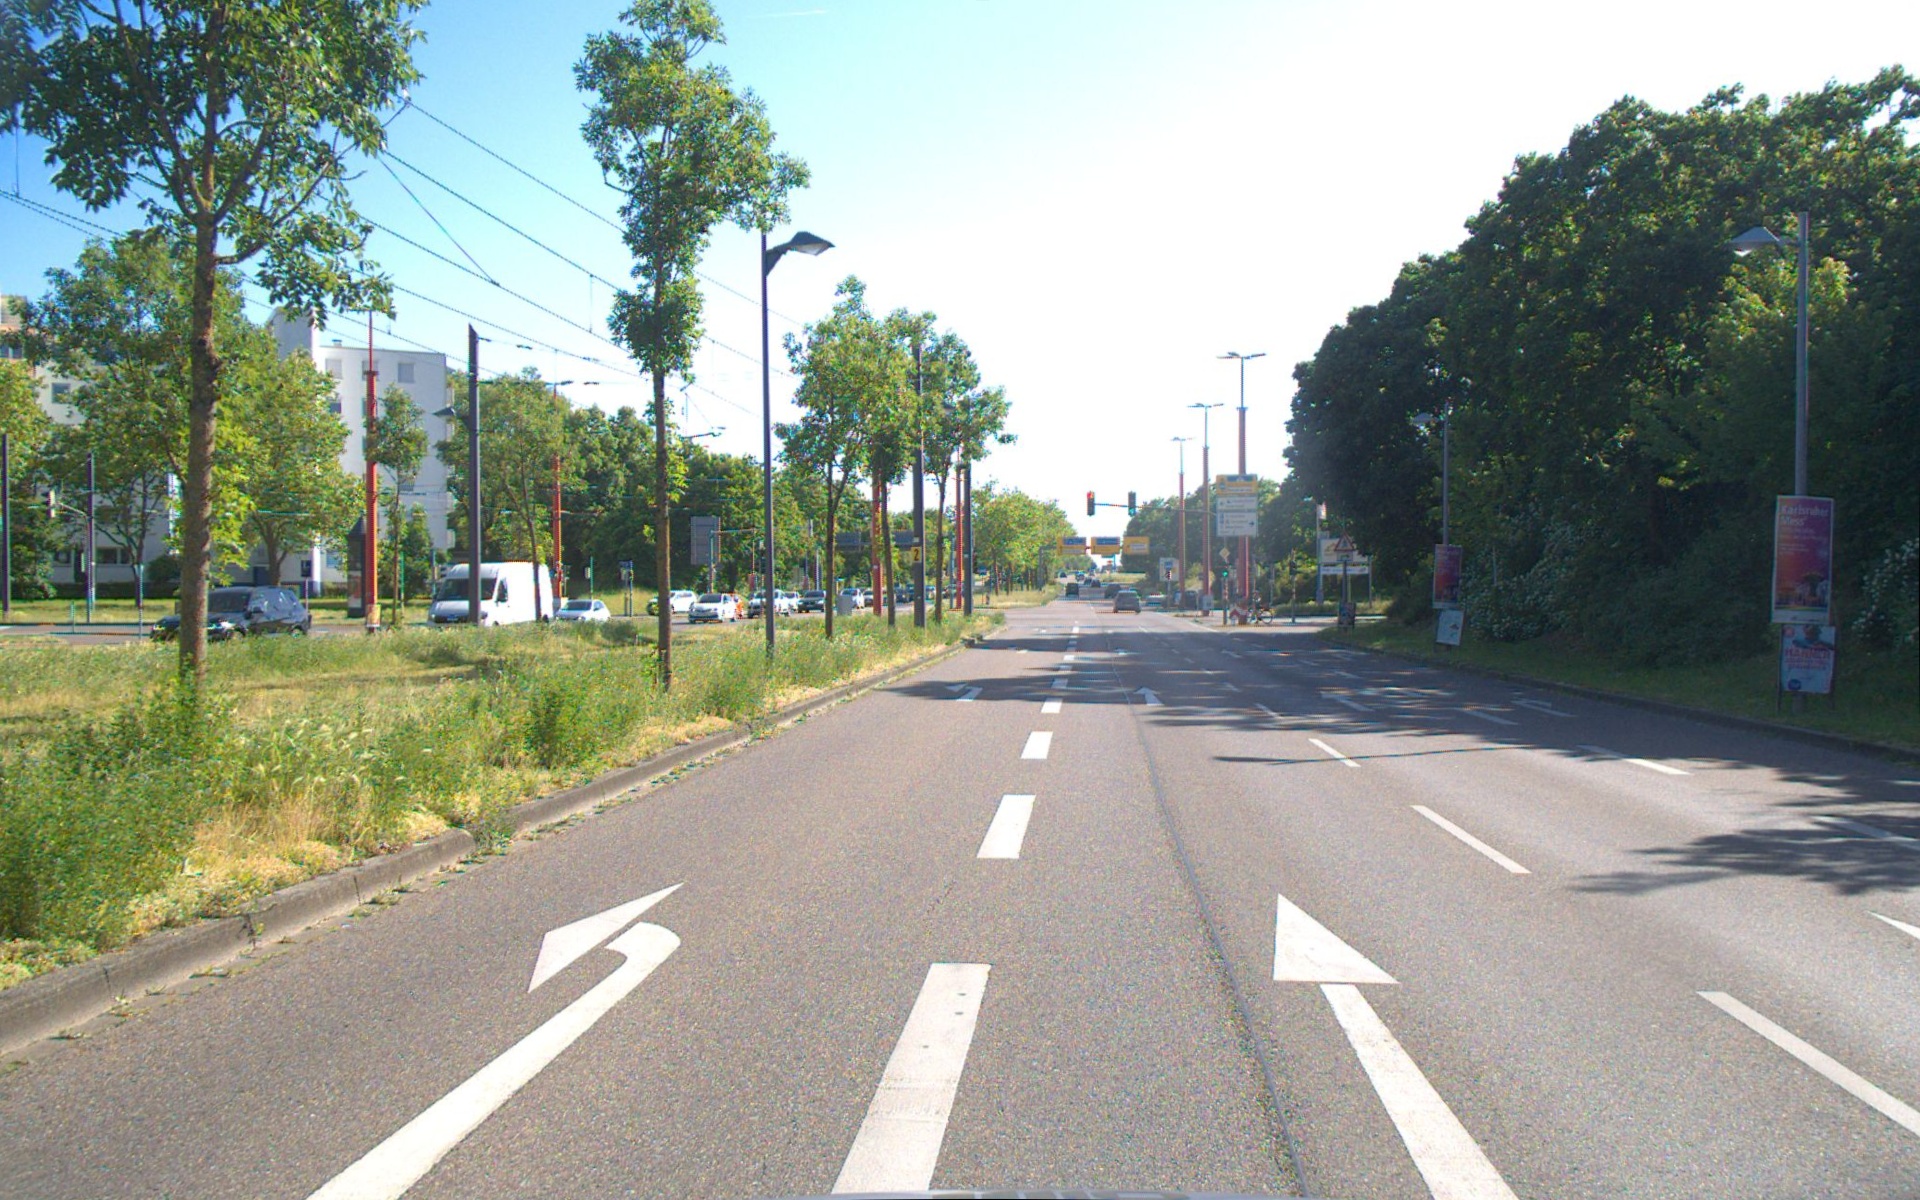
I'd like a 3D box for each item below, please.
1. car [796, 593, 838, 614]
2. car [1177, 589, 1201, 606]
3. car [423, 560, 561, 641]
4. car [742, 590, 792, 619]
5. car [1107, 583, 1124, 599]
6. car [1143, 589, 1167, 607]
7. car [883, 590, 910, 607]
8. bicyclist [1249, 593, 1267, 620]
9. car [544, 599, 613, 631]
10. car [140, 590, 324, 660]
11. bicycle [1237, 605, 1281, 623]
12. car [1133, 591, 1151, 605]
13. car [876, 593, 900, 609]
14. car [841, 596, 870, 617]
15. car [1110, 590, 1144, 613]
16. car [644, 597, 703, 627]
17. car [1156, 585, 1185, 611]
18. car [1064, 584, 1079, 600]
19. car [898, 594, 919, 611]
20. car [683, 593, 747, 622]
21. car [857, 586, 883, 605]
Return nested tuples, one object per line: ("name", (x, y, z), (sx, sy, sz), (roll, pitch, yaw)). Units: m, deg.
("car", (-9.864, 0.247, 114.381), (1.951, 1.434, 4.993), (1, 0, 6))
("car", (18.608, -0.170, 134.387), (1.701, 1.365, 3.083), (0, 0, 4))
("car", (-14.852, 0.005, 52.991), (1.996, 2.410, 6.884), (1, 0, 4))
("car", (-11.371, 0.260, 97.727), (1.854, 1.650, 4.660), (1, 0, 7))
("car", (19.502, -1.135, 207.387), (2.109, 2.049, 4.002), (0, 0, 4))
("car", (17.739, -0.204, 150.662), (1.951, 1.567, 4.002), (1, 0, 4))
("car", (-6.147, -0.175, 160.594), (1.951, 1.622, 4.467), (-1, 0, 6))
("bicyclist", (14.895, 0.327, 82.772), (0.725, 1.365, 0.707), (1, 0, -6))
("car", (-16.660, 0.645, 72.384), (1.760, 1.315, 4.002), (1, 0, 5))
("car", (-18.069, 0.592, 41.373), (1.951, 1.612, 5.275), (1, 0, 4))
("bicycle", (14.954, 0.696, 82.778), (2.120, 0.894, 0.559), (1, 0, -7))
("car", (20.960, -0.256, 190.816), (1.951, 1.567, 4.002), (1, 0, 4))
("car", (-6.562, 0.063, 151.588), (1.668, 1.448, 4.645), (-1, 0, 4))
("car", (-8.224, 0.516, 130.165), (1.725, 1.636, 3.760), (-1, 0, 5))
("car", (11.303, 0.090, 112.370), (1.952, 1.523, 4.000), (0, 0, 1))
("car", (-20.462, 0.858, 118.321), (1.955, 2.049, 4.402), (0, 1, 28))
("car", (15.709, -0.162, 123.591), (1.951, 1.920, 4.002), (0, 0, 4))
("car", (14.746, -1.075, 218.474), (1.951, 2.049, 4.002), (1, 0, 5))
("car", (-5.362, 0.228, 174.107), (1.762, 1.737, 4.062), (-1, 0, 4))
("car", (-12.479, 0.387, 84.527), (1.859, 1.422, 4.547), (1, 0, 10))
("car", (-7.680, -0.391, 141.840), (1.555, 1.498, 4.186), (-2, 1, 5))
